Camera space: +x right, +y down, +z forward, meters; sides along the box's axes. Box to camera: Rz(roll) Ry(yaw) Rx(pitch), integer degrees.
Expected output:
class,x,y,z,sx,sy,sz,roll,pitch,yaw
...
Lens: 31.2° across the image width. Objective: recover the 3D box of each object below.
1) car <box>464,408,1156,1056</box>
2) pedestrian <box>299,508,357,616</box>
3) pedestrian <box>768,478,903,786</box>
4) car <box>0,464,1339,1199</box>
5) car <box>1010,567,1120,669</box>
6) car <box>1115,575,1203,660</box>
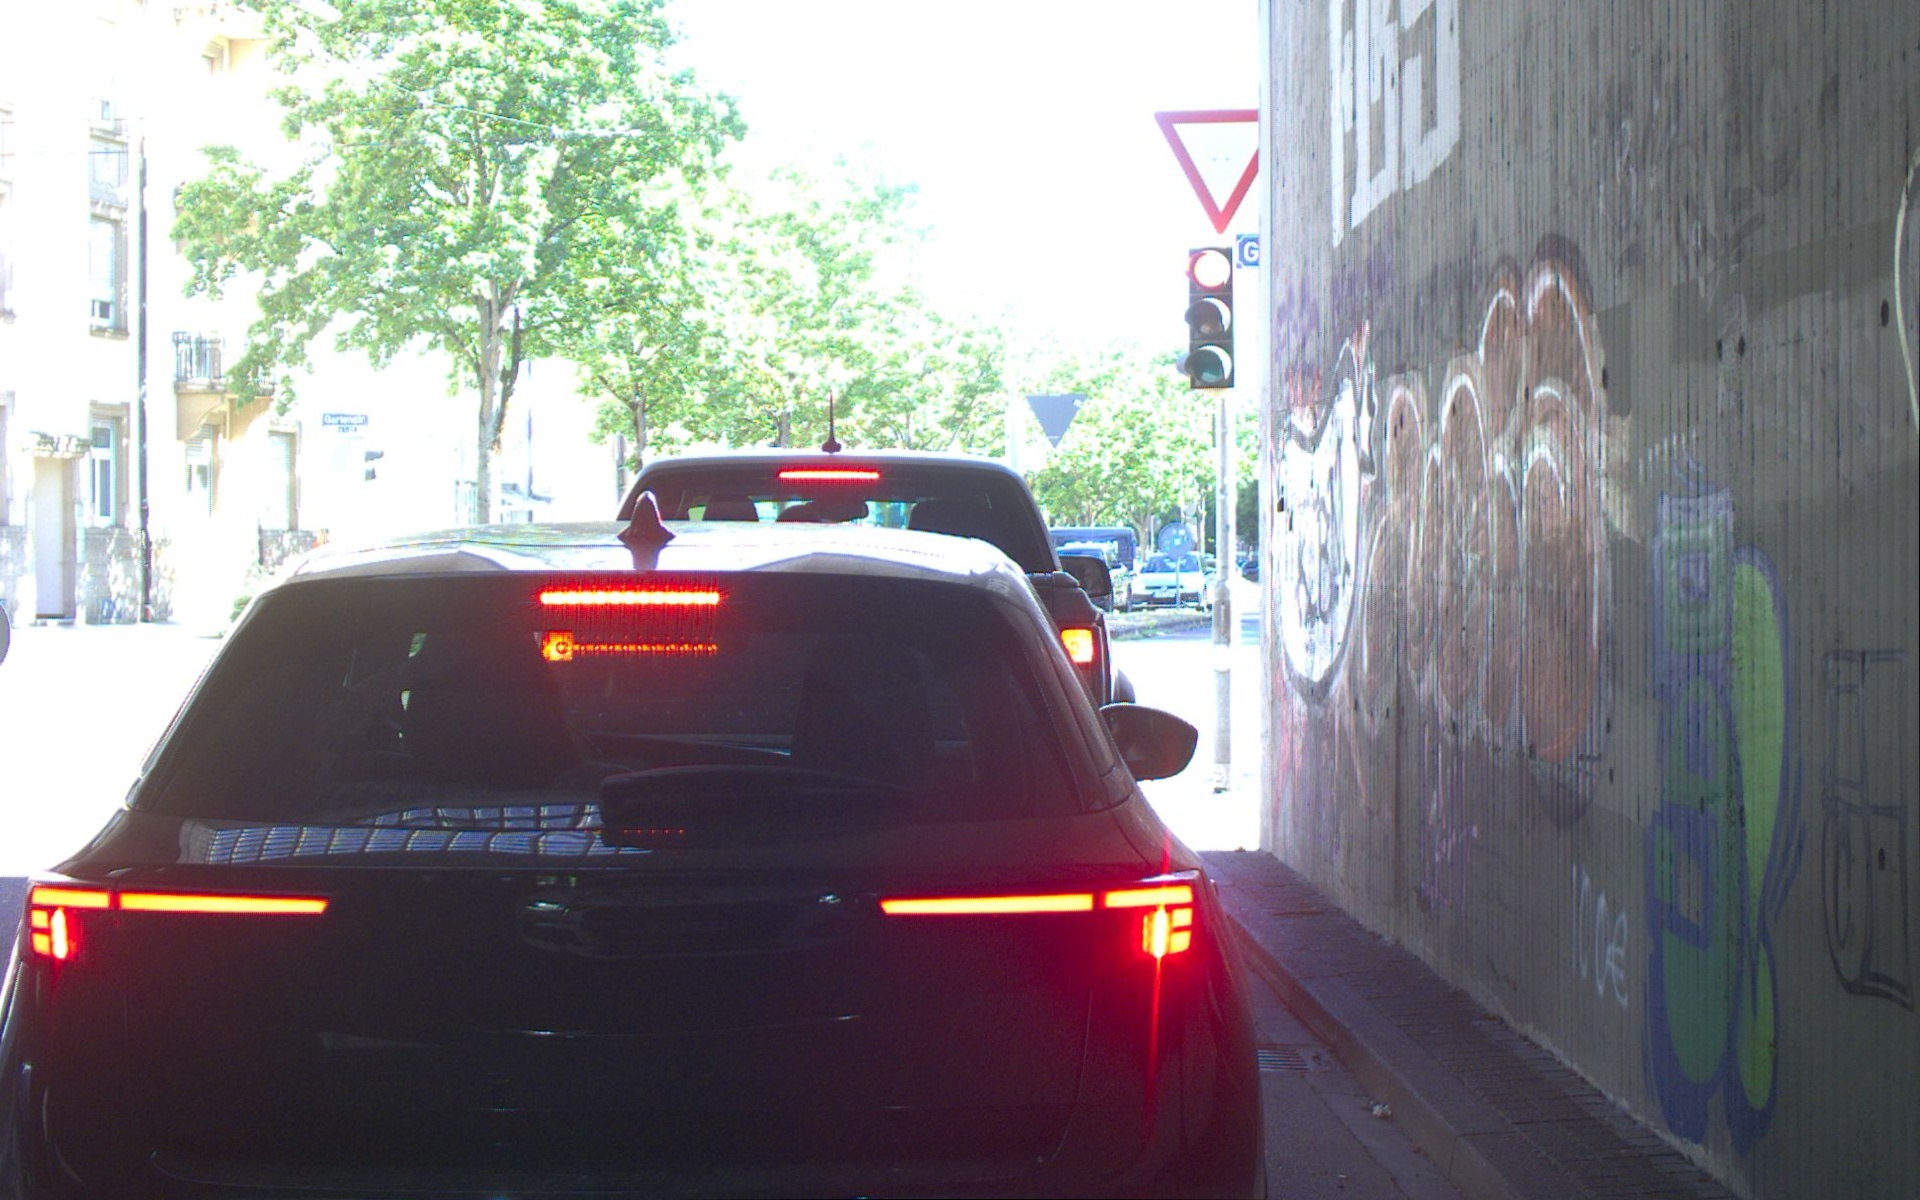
class,x,y,z,sx,sy,sz,roll,pitch,yaw
car,-0.457,0.345,11.984,1.993,1.865,4.000,0,1,-1
pedestrian,-12.257,-0.735,66.694,0.892,2.080,0.808,1,0,7
pedestrian,-0.708,0.176,19.793,0.731,1.728,0.874,1,0,-1
car,-0.472,0.560,6.044,1.764,1.566,4.001,1,2,-1
car,2.139,0.332,69.045,1.994,1.963,4.163,1,1,5
car,4.796,0.390,82.460,1.994,1.963,4.163,1,1,5
